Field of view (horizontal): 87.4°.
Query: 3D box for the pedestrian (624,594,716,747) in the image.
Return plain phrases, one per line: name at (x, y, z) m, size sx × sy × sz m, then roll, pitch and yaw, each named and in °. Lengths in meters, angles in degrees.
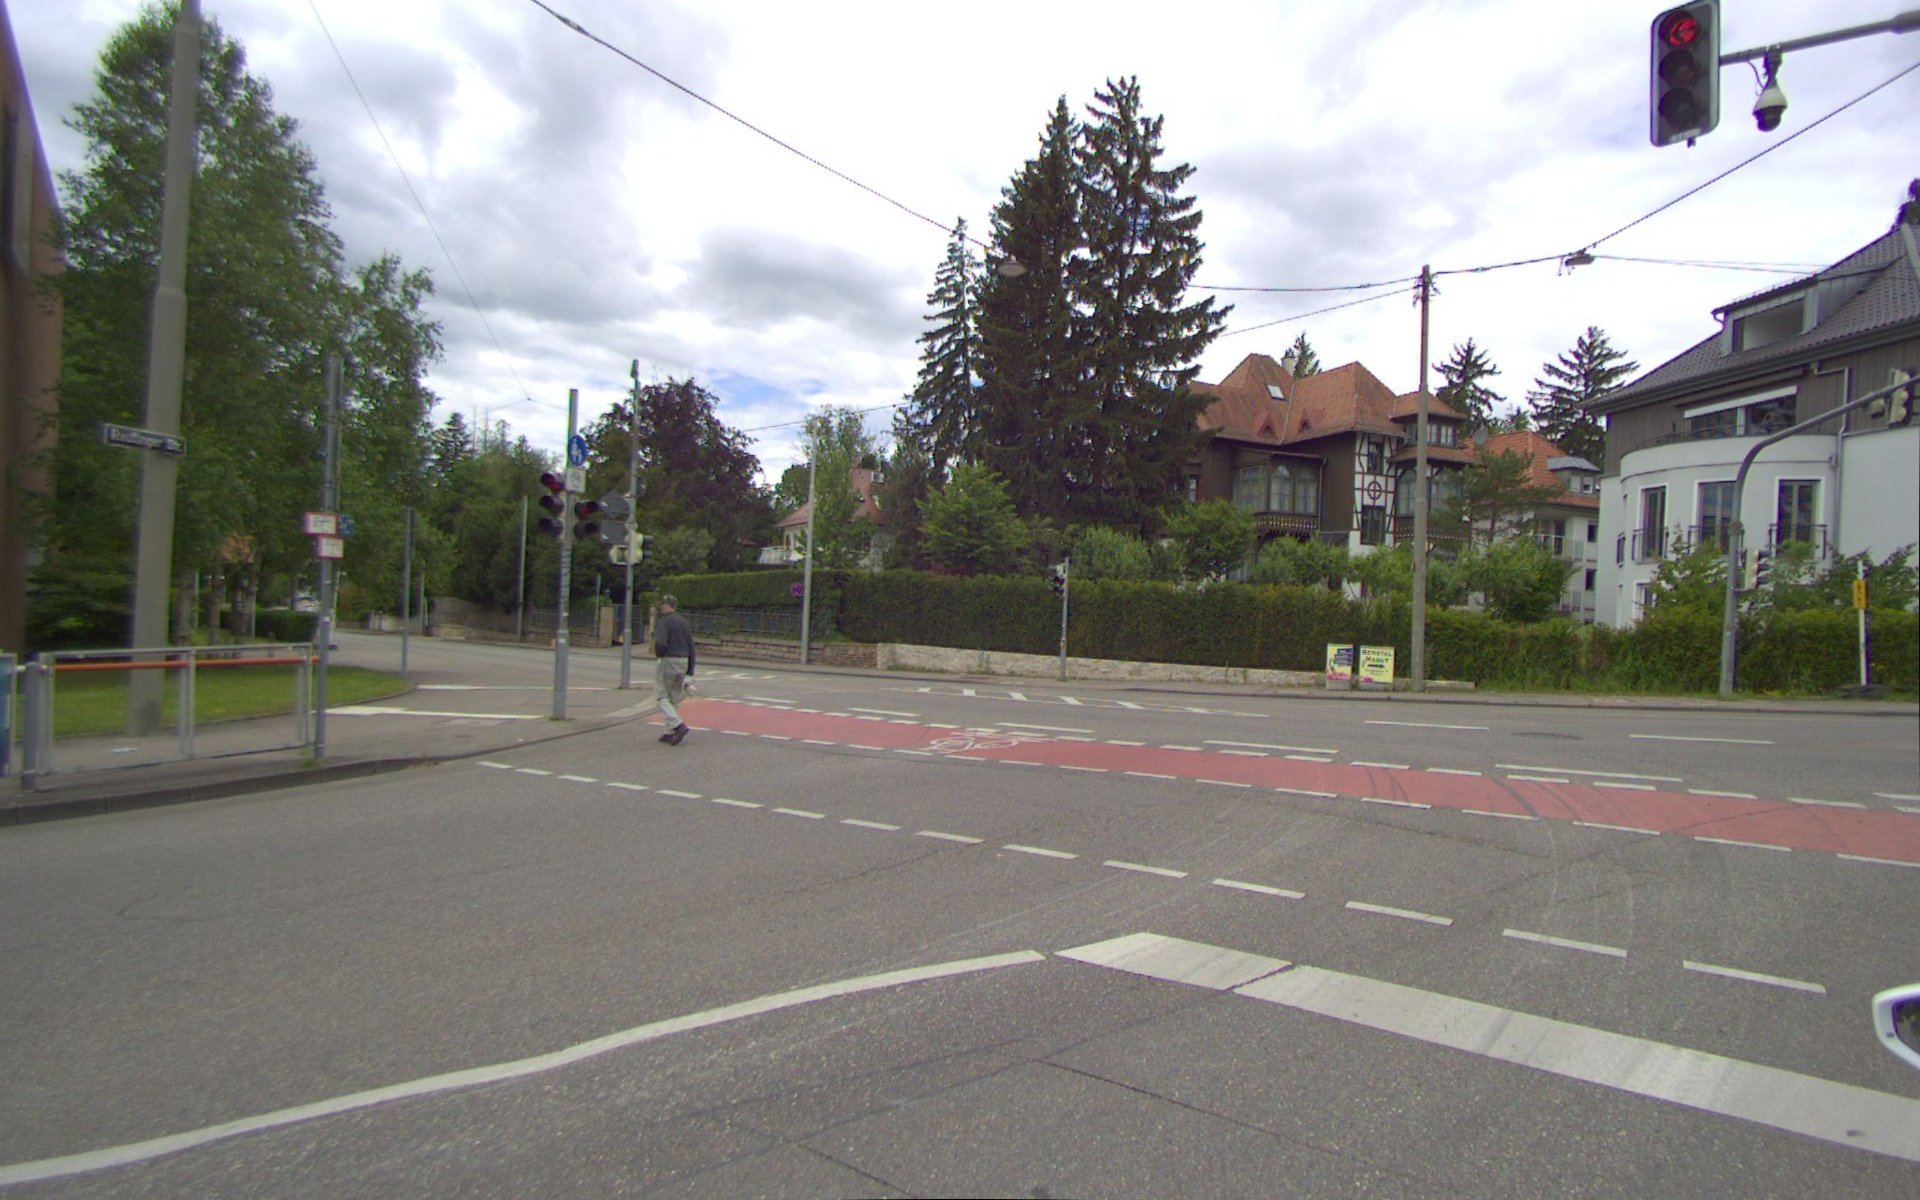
pedestrian at (-3.253, 0.767, 11.287) m, size 0.726 × 1.655 × 0.683 m, roll -1°, pitch -1°, yaw 22°
